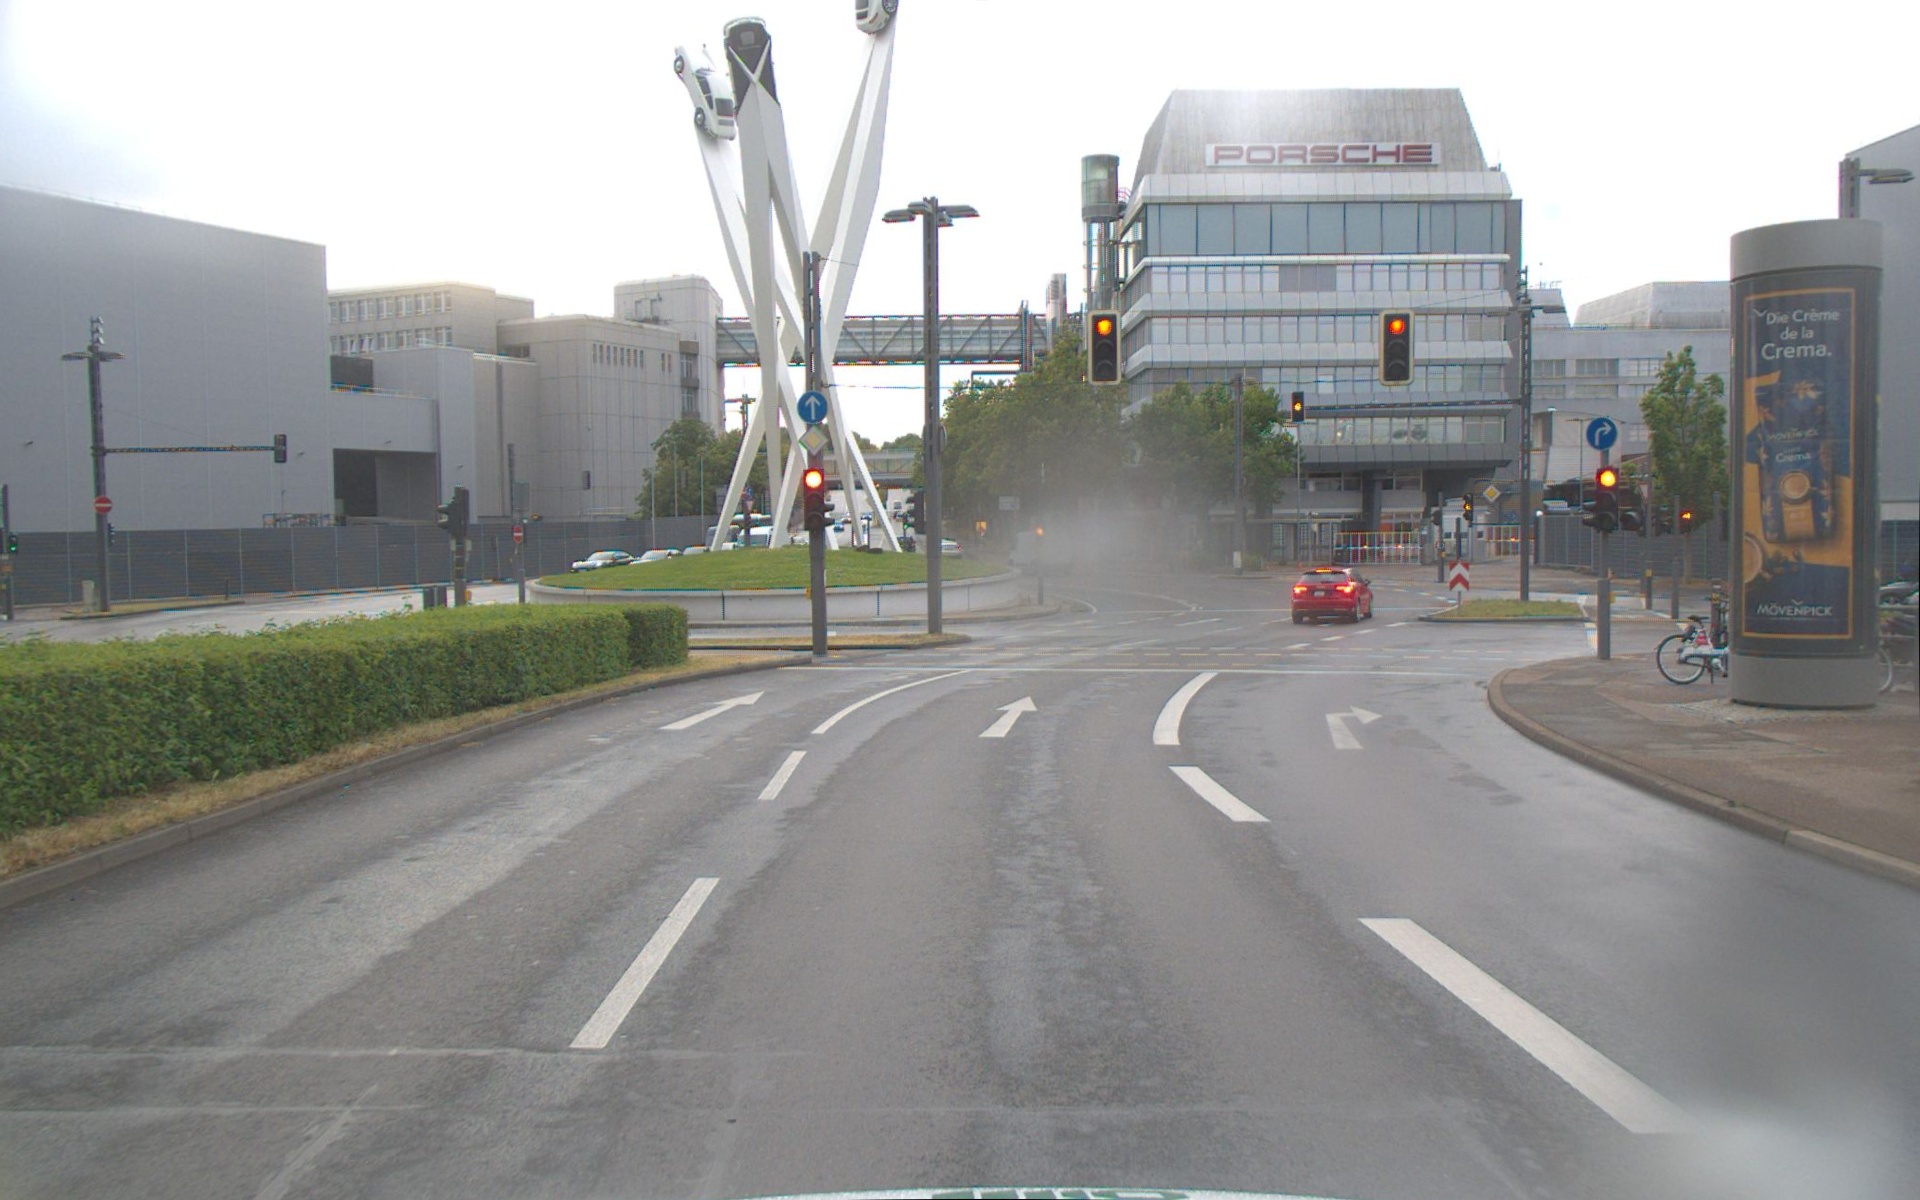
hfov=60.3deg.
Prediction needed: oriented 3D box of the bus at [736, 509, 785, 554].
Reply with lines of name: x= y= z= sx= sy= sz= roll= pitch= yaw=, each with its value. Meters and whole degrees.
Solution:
bus: x=-15.179 y=-5.185 z=126.521 sx=2.615 sy=3.256 sz=12.667 roll=0 pitch=2 yaw=-2

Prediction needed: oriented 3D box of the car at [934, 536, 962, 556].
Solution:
car: x=-0.826 y=-3.691 z=113.535 sx=1.635 sy=1.323 sz=3.882 roll=-1 pitch=0 yaw=-5

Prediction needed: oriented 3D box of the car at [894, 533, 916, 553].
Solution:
car: x=-3.832 y=-3.990 z=116.061 sx=1.525 sy=1.310 sz=3.412 roll=-1 pitch=0 yaw=-2

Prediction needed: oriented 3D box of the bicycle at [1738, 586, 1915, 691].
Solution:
bicycle: x=10.254 y=0.449 z=19.609 sx=1.762 sy=1.182 sz=0.592 roll=-1 pitch=0 yaw=2

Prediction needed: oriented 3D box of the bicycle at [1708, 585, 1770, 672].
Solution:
bicycle: x=11.011 y=0.378 z=23.422 sx=0.377 sy=1.182 sz=2.002 roll=-1 pitch=0 yaw=13

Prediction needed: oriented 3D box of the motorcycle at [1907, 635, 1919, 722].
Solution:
motorcycle: x=11.632 y=0.945 z=18.832 sx=0.683 sy=1.007 sz=1.751 roll=-1 pitch=2 yaw=0

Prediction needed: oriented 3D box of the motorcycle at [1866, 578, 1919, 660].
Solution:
motorcycle: x=17.731 y=0.342 z=30.021 sx=2.183 sy=1.477 sz=0.756 roll=0 pitch=1 yaw=22

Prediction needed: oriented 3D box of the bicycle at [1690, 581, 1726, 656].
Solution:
bicycle: x=11.833 y=0.274 z=26.158 sx=0.377 sy=1.139 sz=1.748 roll=0 pitch=1 yaw=29

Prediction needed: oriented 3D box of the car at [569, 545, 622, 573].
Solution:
car: x=-19.903 y=-2.232 z=90.461 sx=1.795 sy=1.497 sz=4.514 roll=-1 pitch=1 yaw=1

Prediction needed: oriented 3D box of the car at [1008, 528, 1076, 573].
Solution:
car: x=4.158 y=-2.493 z=84.557 sx=2.194 sy=2.144 sz=4.938 roll=-1 pitch=0 yaw=-13

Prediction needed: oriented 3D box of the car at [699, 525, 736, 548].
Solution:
car: x=-16.621 y=-4.353 z=113.714 sx=1.795 sy=1.497 sz=4.514 roll=-1 pitch=1 yaw=1

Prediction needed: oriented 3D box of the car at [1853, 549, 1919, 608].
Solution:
car: x=27.331 y=-0.586 z=45.574 sx=4.501 sy=1.566 sz=1.748 roll=3 pitch=4 yaw=41

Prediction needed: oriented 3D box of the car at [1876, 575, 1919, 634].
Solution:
car: x=22.525 y=0.067 z=38.239 sx=1.576 sy=1.313 sz=3.569 roll=0 pitch=0 yaw=16

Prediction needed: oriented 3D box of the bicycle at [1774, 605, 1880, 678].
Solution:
bicycle: x=11.967 y=0.546 z=22.897 sx=0.677 sy=0.920 sz=2.176 roll=0 pitch=1 yaw=10

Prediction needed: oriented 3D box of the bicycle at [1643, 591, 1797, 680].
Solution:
bicycle: x=10.160 y=0.463 z=22.150 sx=1.732 sy=1.160 sz=0.679 roll=-1 pitch=0 yaw=6

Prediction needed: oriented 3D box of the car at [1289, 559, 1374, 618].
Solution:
car: x=9.954 y=-0.306 z=44.157 sx=1.736 sy=1.490 sz=3.733 roll=0 pitch=0 yaw=20

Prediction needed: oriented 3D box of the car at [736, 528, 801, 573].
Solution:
car: x=-10.947 y=-2.866 z=95.195 sx=1.951 sy=2.489 sz=5.432 roll=-1 pitch=2 yaw=13

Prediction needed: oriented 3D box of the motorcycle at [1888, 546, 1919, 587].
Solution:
motorcycle: x=31.981 y=-1.111 z=54.546 sx=2.316 sy=1.367 sz=0.650 roll=1 pitch=2 yaw=40

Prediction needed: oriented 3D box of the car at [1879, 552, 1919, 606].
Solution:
car: x=29.682 y=-0.595 z=48.789 sx=4.221 sy=1.566 sz=1.748 roll=3 pitch=4 yaw=41
